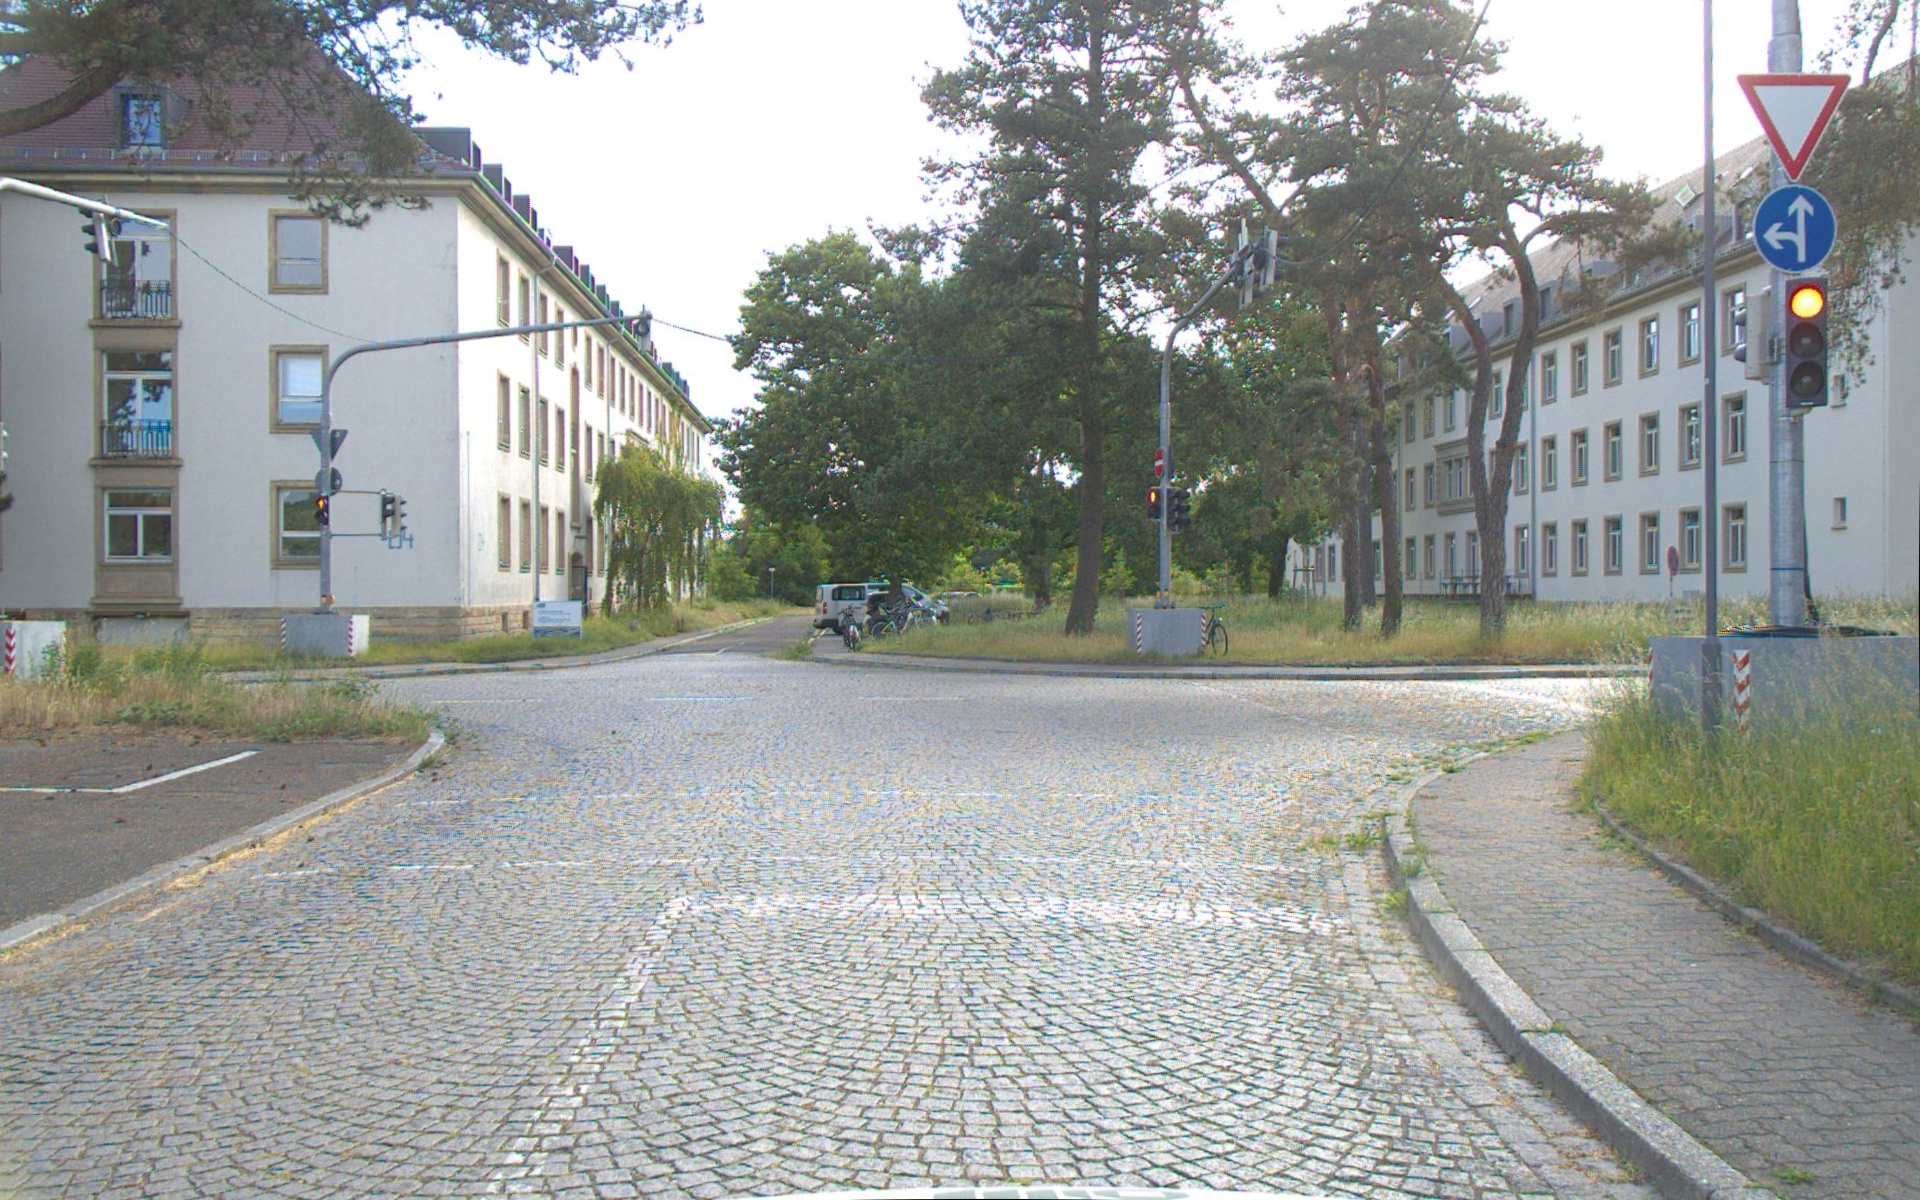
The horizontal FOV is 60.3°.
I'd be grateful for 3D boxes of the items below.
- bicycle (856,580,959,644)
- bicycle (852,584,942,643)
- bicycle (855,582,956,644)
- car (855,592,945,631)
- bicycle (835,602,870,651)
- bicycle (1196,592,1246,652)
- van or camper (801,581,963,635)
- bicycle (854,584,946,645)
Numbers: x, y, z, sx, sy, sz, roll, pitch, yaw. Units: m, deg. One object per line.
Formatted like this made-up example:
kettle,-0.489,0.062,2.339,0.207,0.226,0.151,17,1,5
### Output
bicycle,-1.469,0.329,45.815,2.724,1.723,1.118,0,0,-9
bicycle,-1.976,0.419,51.890,2.720,1.723,1.120,2,0,-2
bicycle,-1.562,0.352,47.005,2.726,1.723,1.117,0,0,-11
car,-2.196,0.413,60.182,3.080,1.378,1.616,0,0,-9
bicycle,-2.688,0.651,41.454,0.711,1.127,2.461,-5,0,-2
bicycle,5.413,0.448,34.430,0.709,1.189,2.738,1,0,3
van or camper,-3.015,0.282,63.713,5.936,1.983,1.991,-1,0,-17
bicycle,-1.817,0.438,50.560,2.718,1.723,1.120,2,0,0
